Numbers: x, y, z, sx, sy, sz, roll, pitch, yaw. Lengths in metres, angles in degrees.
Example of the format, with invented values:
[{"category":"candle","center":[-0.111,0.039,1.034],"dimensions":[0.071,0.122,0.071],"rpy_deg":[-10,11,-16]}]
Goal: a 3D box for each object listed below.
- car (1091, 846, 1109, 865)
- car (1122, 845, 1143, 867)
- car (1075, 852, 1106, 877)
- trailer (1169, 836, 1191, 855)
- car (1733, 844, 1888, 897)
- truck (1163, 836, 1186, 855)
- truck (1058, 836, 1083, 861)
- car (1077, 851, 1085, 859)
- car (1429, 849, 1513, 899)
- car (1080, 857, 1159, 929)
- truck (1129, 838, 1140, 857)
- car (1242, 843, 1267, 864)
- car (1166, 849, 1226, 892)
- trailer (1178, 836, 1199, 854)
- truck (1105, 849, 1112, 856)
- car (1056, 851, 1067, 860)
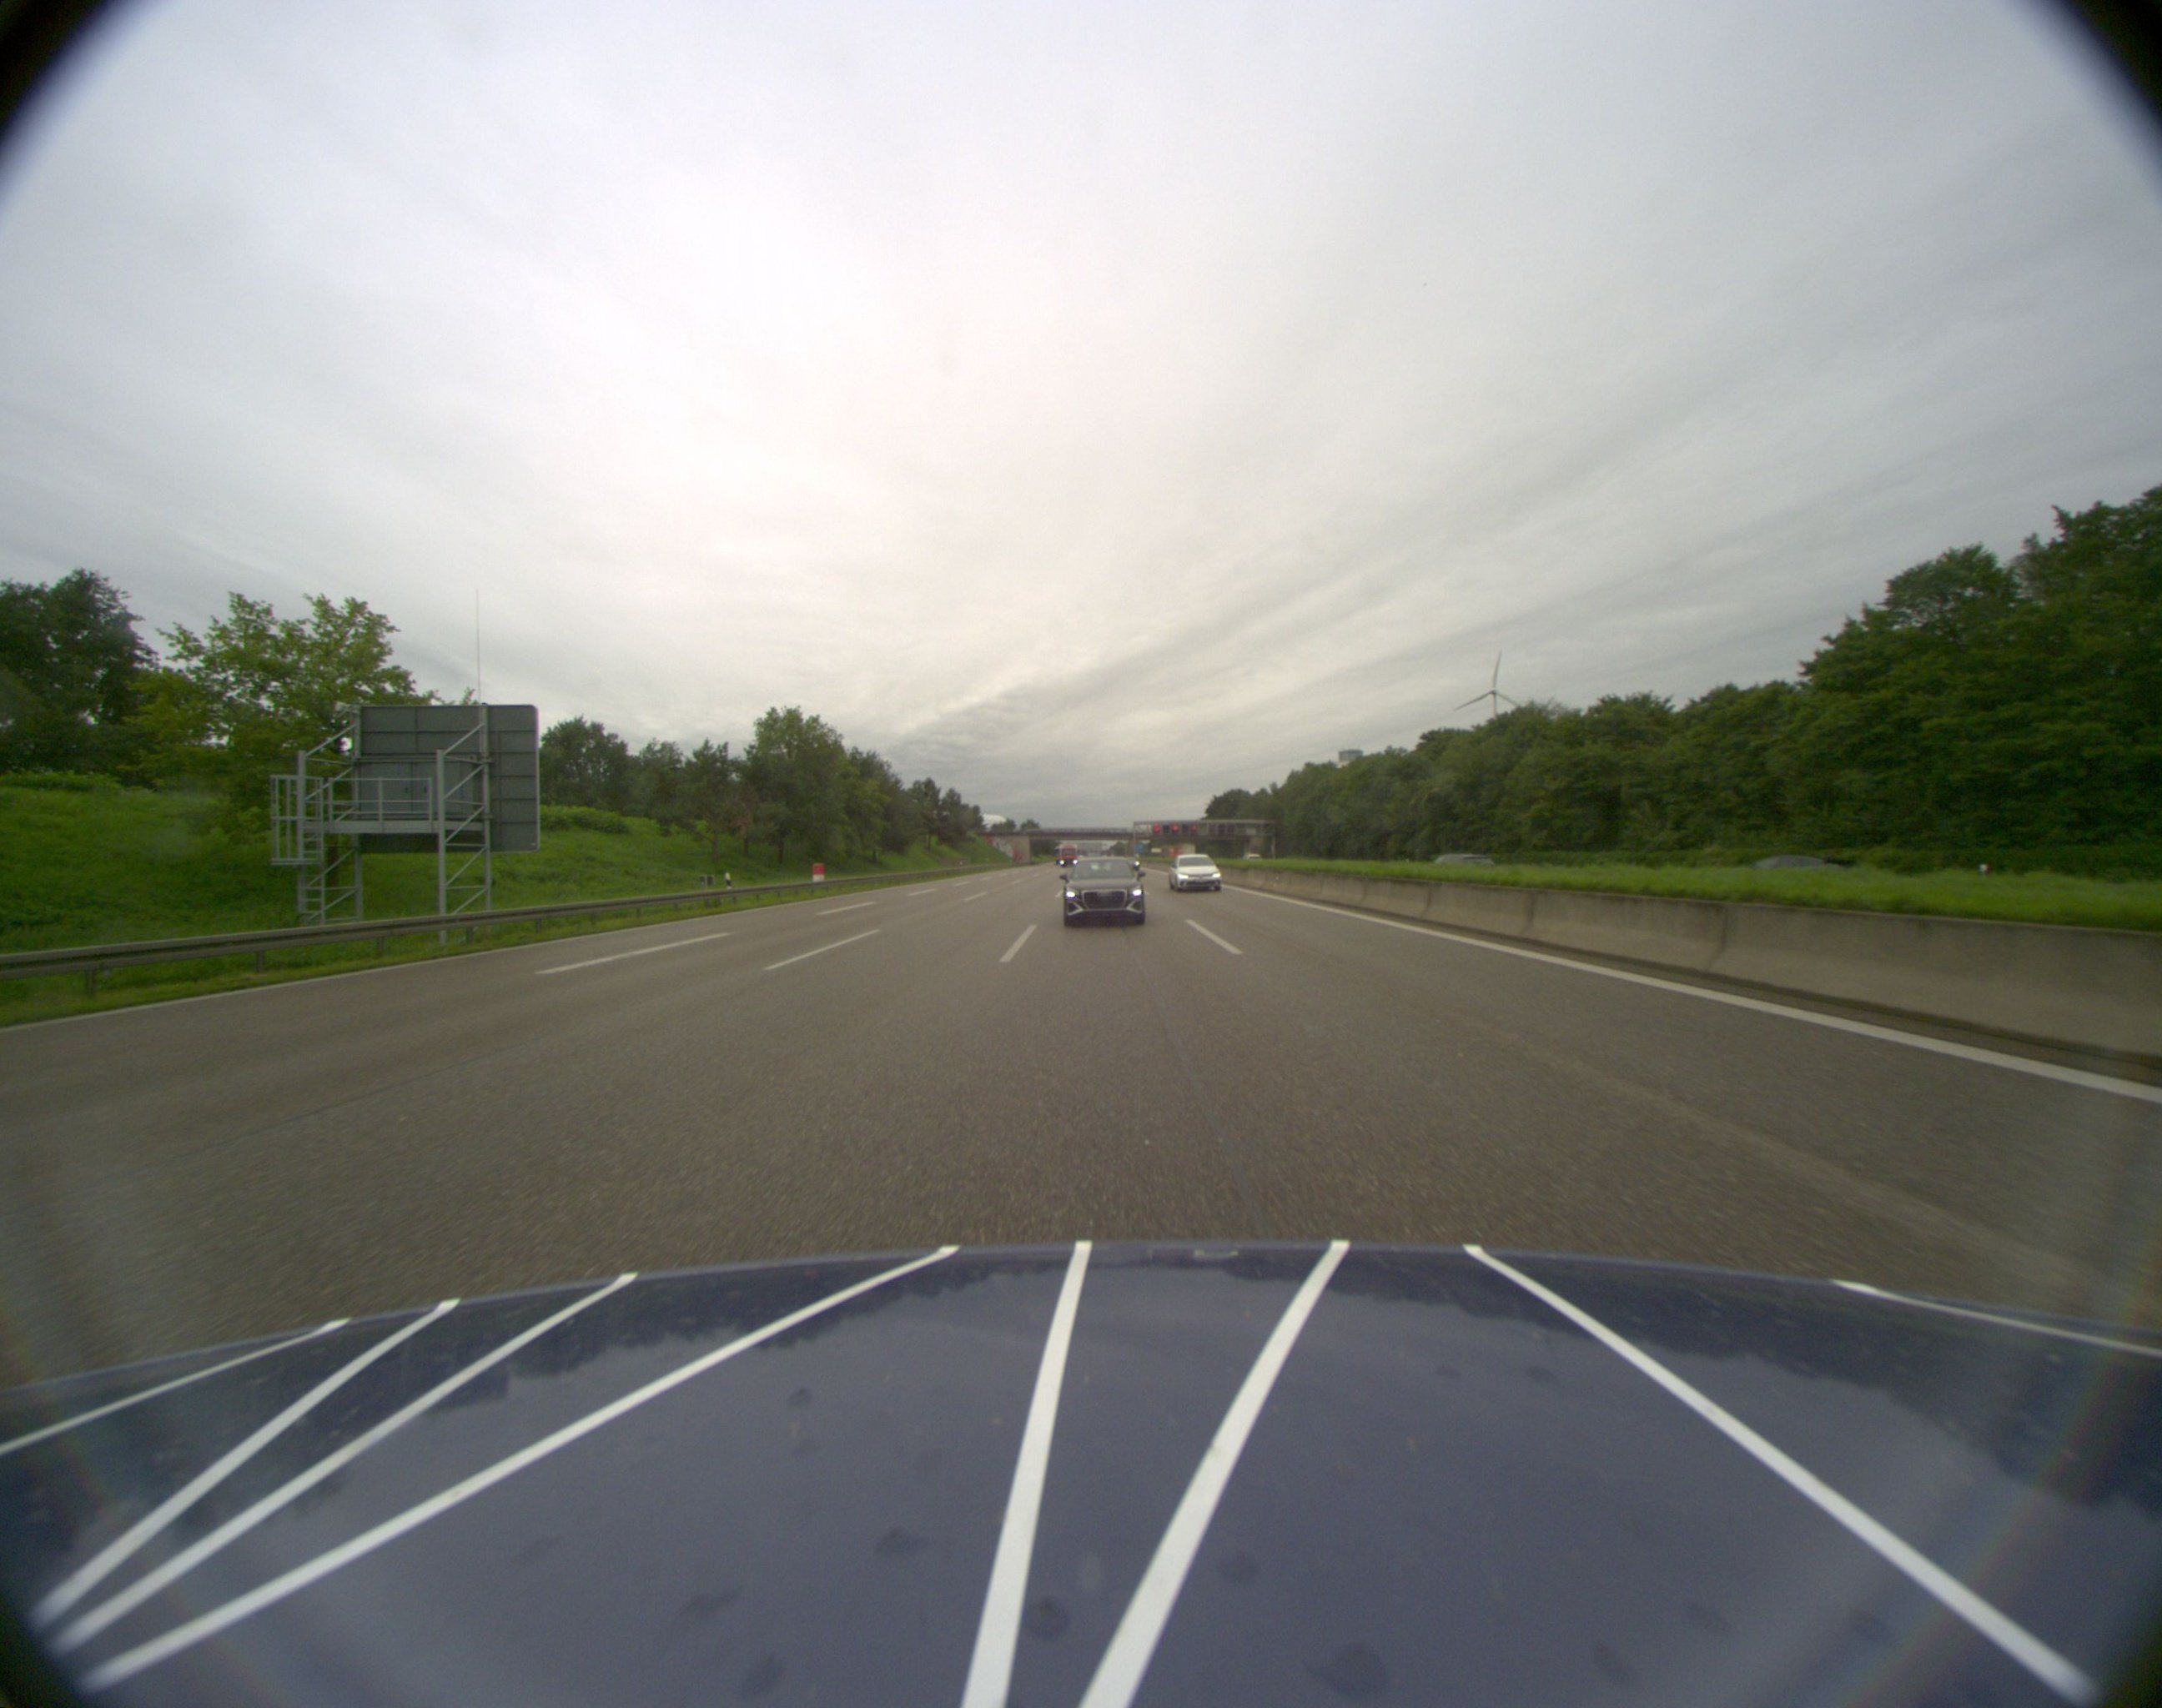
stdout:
[{"category":"car","center":[2.192,0.149,87.789],"dimensions":[1.998,2.002,3.999],"rpy_deg":[-2,1,1]},{"category":"car","center":[4.868,0.130,72.593],"dimensions":[1.725,2.002,3.851],"rpy_deg":[-2,1,1]},{"category":"car","center":[0.672,0.675,52.551],"dimensions":[1.998,1.555,4.910],"rpy_deg":[-2,0,1]},{"category":"trailer","center":[18.360,-1.582,141.597],"dimensions":[2.939,3.439,8.319],"rpy_deg":[-2,1,1]},{"category":"car","center":[27.349,0.566,28.696],"dimensions":[1.999,1.783,3.999],"rpy_deg":[-2,1,0]},{"category":"truck","center":[18.536,-1.652,151.439],"dimensions":[2.958,3.446,11.183],"rpy_deg":[-2,1,0]},{"category":"truck","center":[-1.576,-0.926,119.614],"dimensions":[2.835,3.634,10.673],"rpy_deg":[-2,1,4]},{"category":"car","center":[-0.056,0.177,206.865],"dimensions":[1.998,2.002,3.999],"rpy_deg":[-2,1,1]},{"category":"car","center":[17.252,0.812,33.827],"dimensions":[1.706,2.002,3.953],"rpy_deg":[-3,1,1]},{"category":"car","center":[0.822,0.829,17.716],"dimensions":[1.616,1.403,3.326],"rpy_deg":[-2,1,0]},{"category":"truck","center":[12.790,-1.654,181.963],"dimensions":[2.067,4.353,6.423],"rpy_deg":[-2,1,-1]},{"category":"car","center":[17.470,-0.033,76.599],"dimensions":[1.624,2.002,3.999],"rpy_deg":[-2,1,1]},{"category":"car","center":[4.672,0.619,31.455],"dimensions":[1.757,1.608,4.663],"rpy_deg":[-1,0,0]},{"category":"trailer","center":[22.566,-1.974,160.213],"dimensions":[2.692,3.519,11.869],"rpy_deg":[-2,1,1]},{"category":"truck","center":[8.410,-0.541,233.948],"dimensions":[1.998,2.002,4.000],"rpy_deg":[-2,0,1]},{"category":"car","center":[-4.405,0.305,171.680],"dimensions":[1.998,2.002,4.000],"rpy_deg":[-2,1,2]}]
